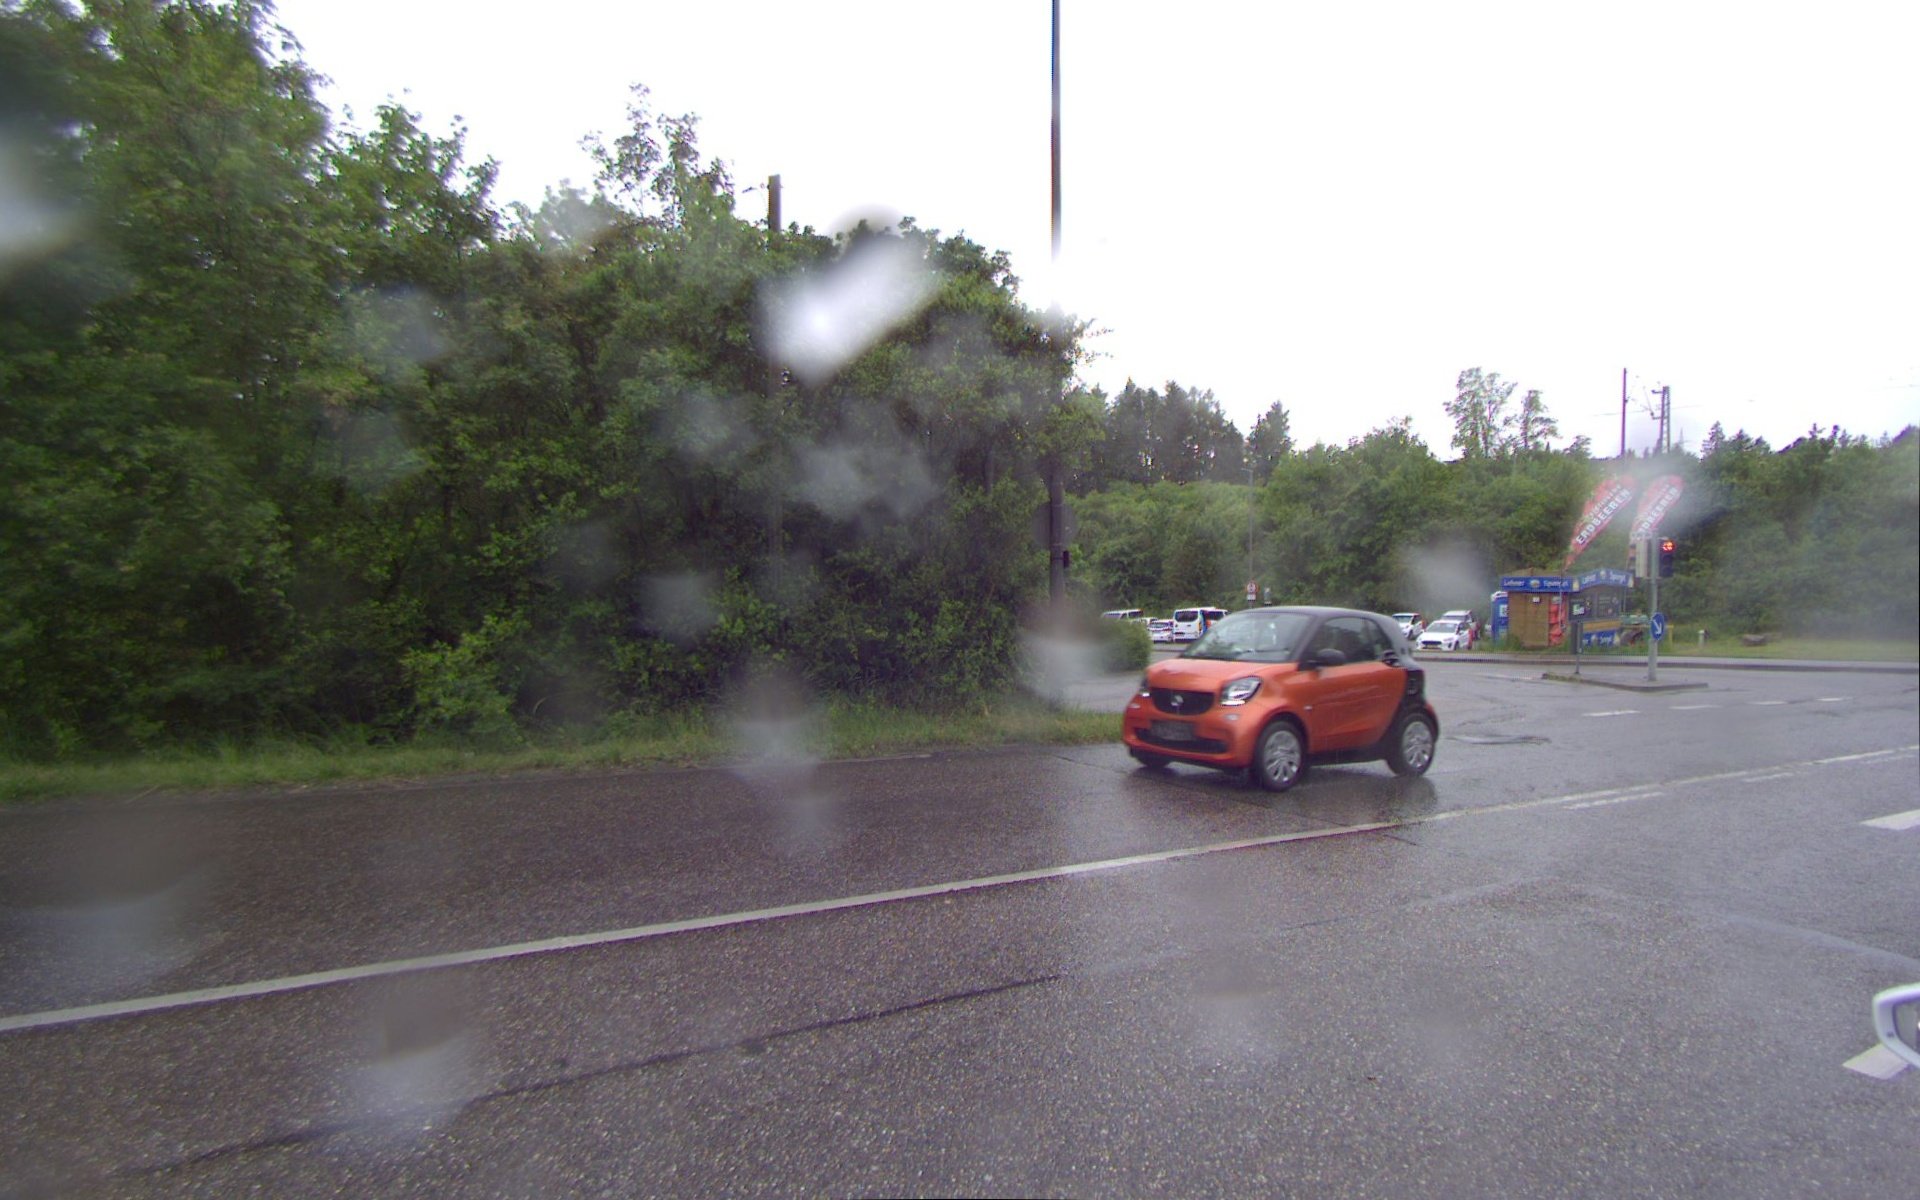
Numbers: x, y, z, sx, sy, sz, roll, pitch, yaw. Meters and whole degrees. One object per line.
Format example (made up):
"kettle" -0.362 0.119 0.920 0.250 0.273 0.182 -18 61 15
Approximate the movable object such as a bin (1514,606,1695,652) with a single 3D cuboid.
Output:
"movable object such as a bin" 26.449 1.184 41.483 5.663 1.649 2.753 2 -1 10

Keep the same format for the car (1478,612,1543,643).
"car" 29.688 1.468 54.118 3.972 1.606 1.975 2 -1 -43

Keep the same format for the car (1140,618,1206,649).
"car" 11.935 1.890 56.267 1.834 1.606 3.978 1 -1 42

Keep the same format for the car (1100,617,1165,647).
"car" 10.020 1.865 58.164 1.813 1.606 3.978 1 -1 42

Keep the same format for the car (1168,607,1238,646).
"car" 13.158 1.454 54.329 1.971 1.975 3.978 1 -1 42

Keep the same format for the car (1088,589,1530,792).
"car" 3.448 0.789 9.827 3.954 1.606 1.984 3 -1 -30

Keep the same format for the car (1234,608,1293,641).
"car" 19.593 1.583 64.723 3.973 2.040 1.974 2 -1 -44

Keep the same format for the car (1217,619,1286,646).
"car" 15.418 1.731 53.080 3.972 1.327 1.734 3 -1 -43

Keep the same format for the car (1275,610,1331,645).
"car" 21.463 1.715 62.841 1.916 2.040 3.846 1 0 43

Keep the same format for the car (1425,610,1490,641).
"car" 27.395 1.399 55.302 3.972 1.606 1.975 2 -1 -43

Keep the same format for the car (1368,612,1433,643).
"car" 25.166 1.592 57.325 3.972 1.606 1.975 3 -1 -43

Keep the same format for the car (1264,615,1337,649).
"car" 17.455 1.644 51.371 3.880 1.606 1.918 3 -1 -43

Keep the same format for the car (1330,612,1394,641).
"car" 23.740 1.567 59.295 3.972 1.606 1.975 3 -1 -43

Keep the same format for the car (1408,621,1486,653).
"car" 22.641 1.720 46.634 4.868 1.358 1.636 3 -1 -43
